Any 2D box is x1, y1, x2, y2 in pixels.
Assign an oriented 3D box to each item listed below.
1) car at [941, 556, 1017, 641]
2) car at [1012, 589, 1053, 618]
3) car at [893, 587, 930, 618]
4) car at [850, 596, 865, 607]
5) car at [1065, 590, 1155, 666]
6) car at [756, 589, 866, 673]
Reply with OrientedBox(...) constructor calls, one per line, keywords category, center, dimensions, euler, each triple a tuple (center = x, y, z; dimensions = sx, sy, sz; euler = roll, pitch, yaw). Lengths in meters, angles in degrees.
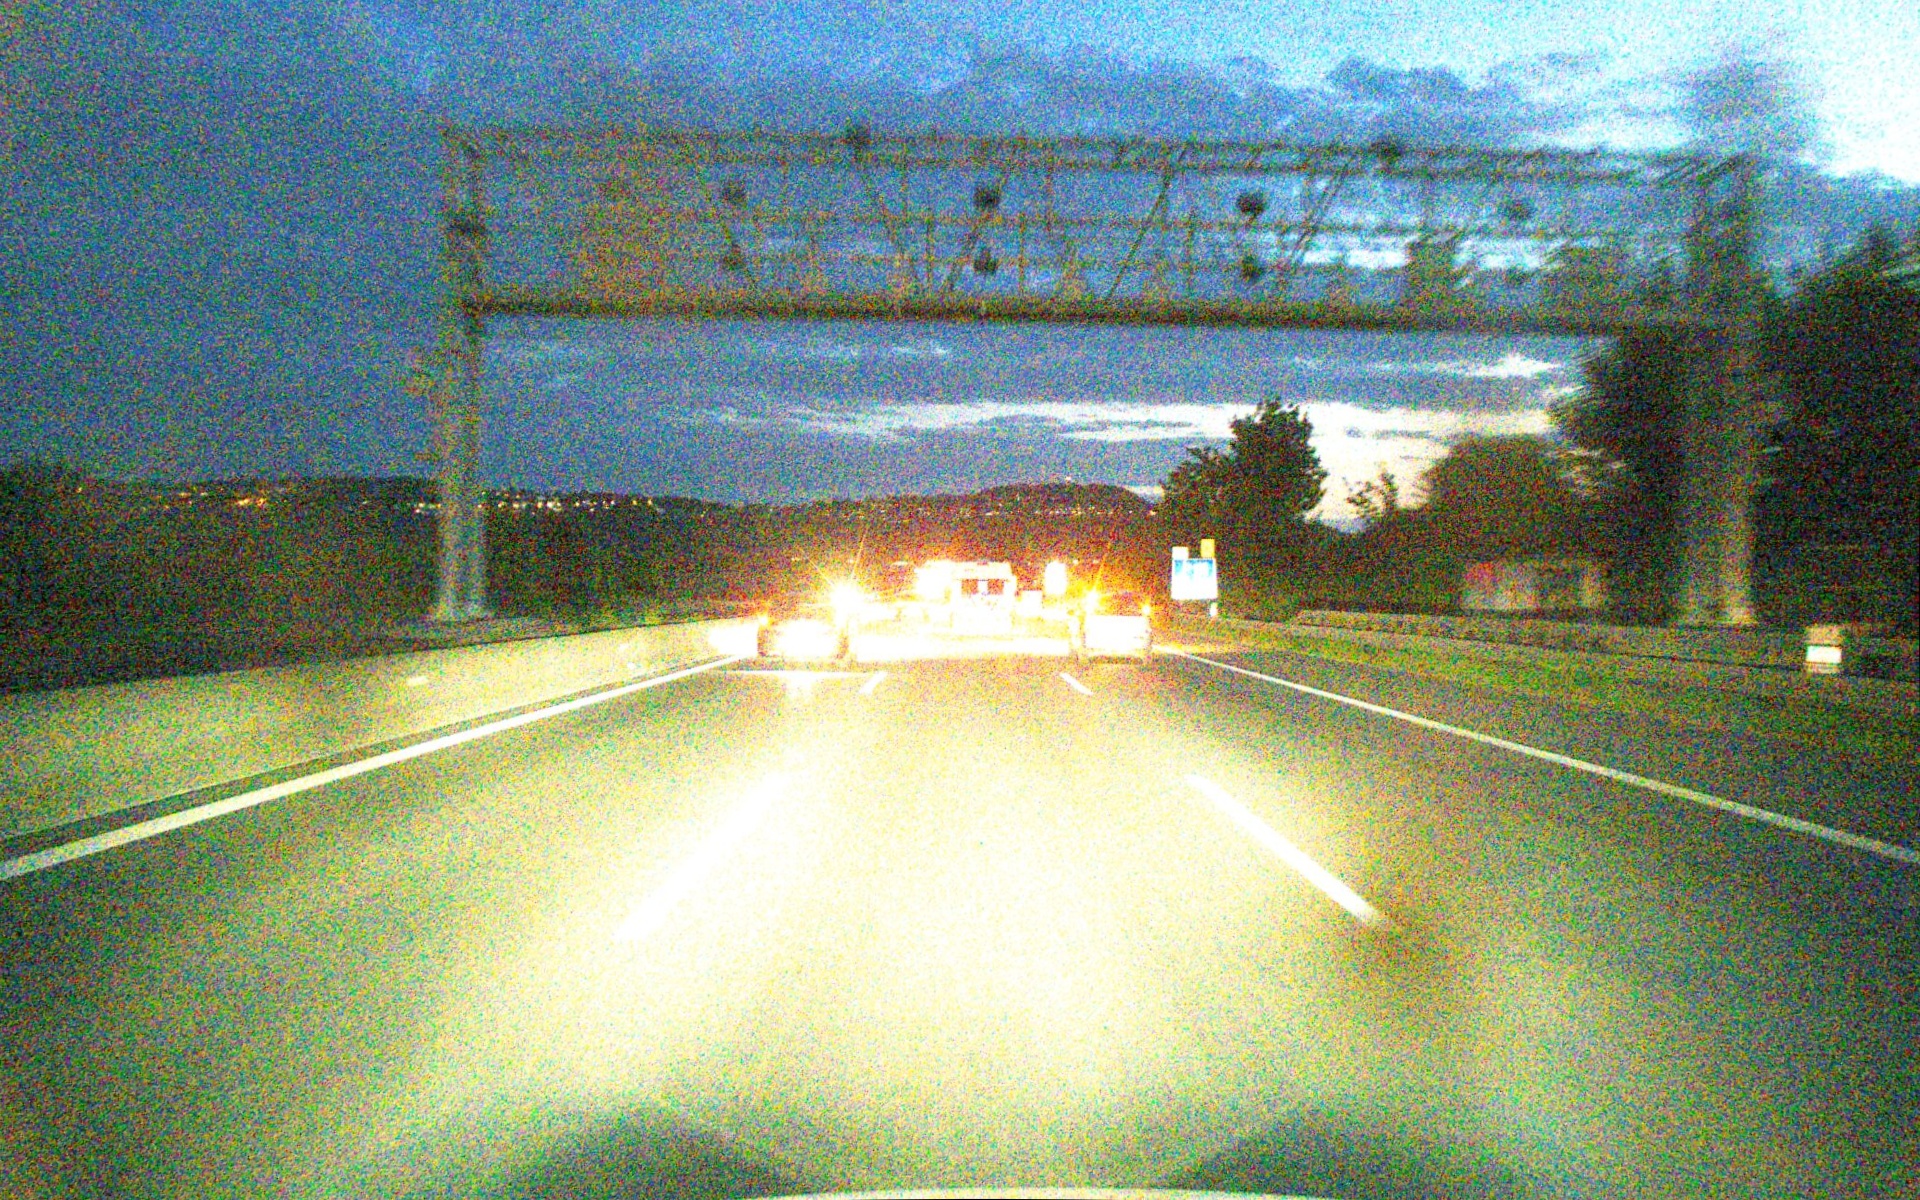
OrientedBox(category="car", center=(0.606, -0.077, 53.678), dimensions=(2.303, 2.579, 5.701), euler=(0, 1, 0))
OrientedBox(category="car", center=(4.102, 0.168, 94.229), dimensions=(2.118, 1.591, 4.723), euler=(0, 0, 0))
OrientedBox(category="car", center=(-2.392, 0.118, 82.184), dimensions=(1.709, 1.465, 4.367), euler=(0, 1, 0))
OrientedBox(category="car", center=(-14.804, 0.200, 239.559), dimensions=(1.864, 1.671, 5.298), euler=(-1, 0, 0))
OrientedBox(category="car", center=(3.417, 0.605, 38.402), dimensions=(1.612, 1.624, 4.509), euler=(1, 0, -1))
OrientedBox(category="car", center=(-2.834, 0.562, 32.138), dimensions=(1.757, 1.494, 3.773), euler=(1, 1, 0))
